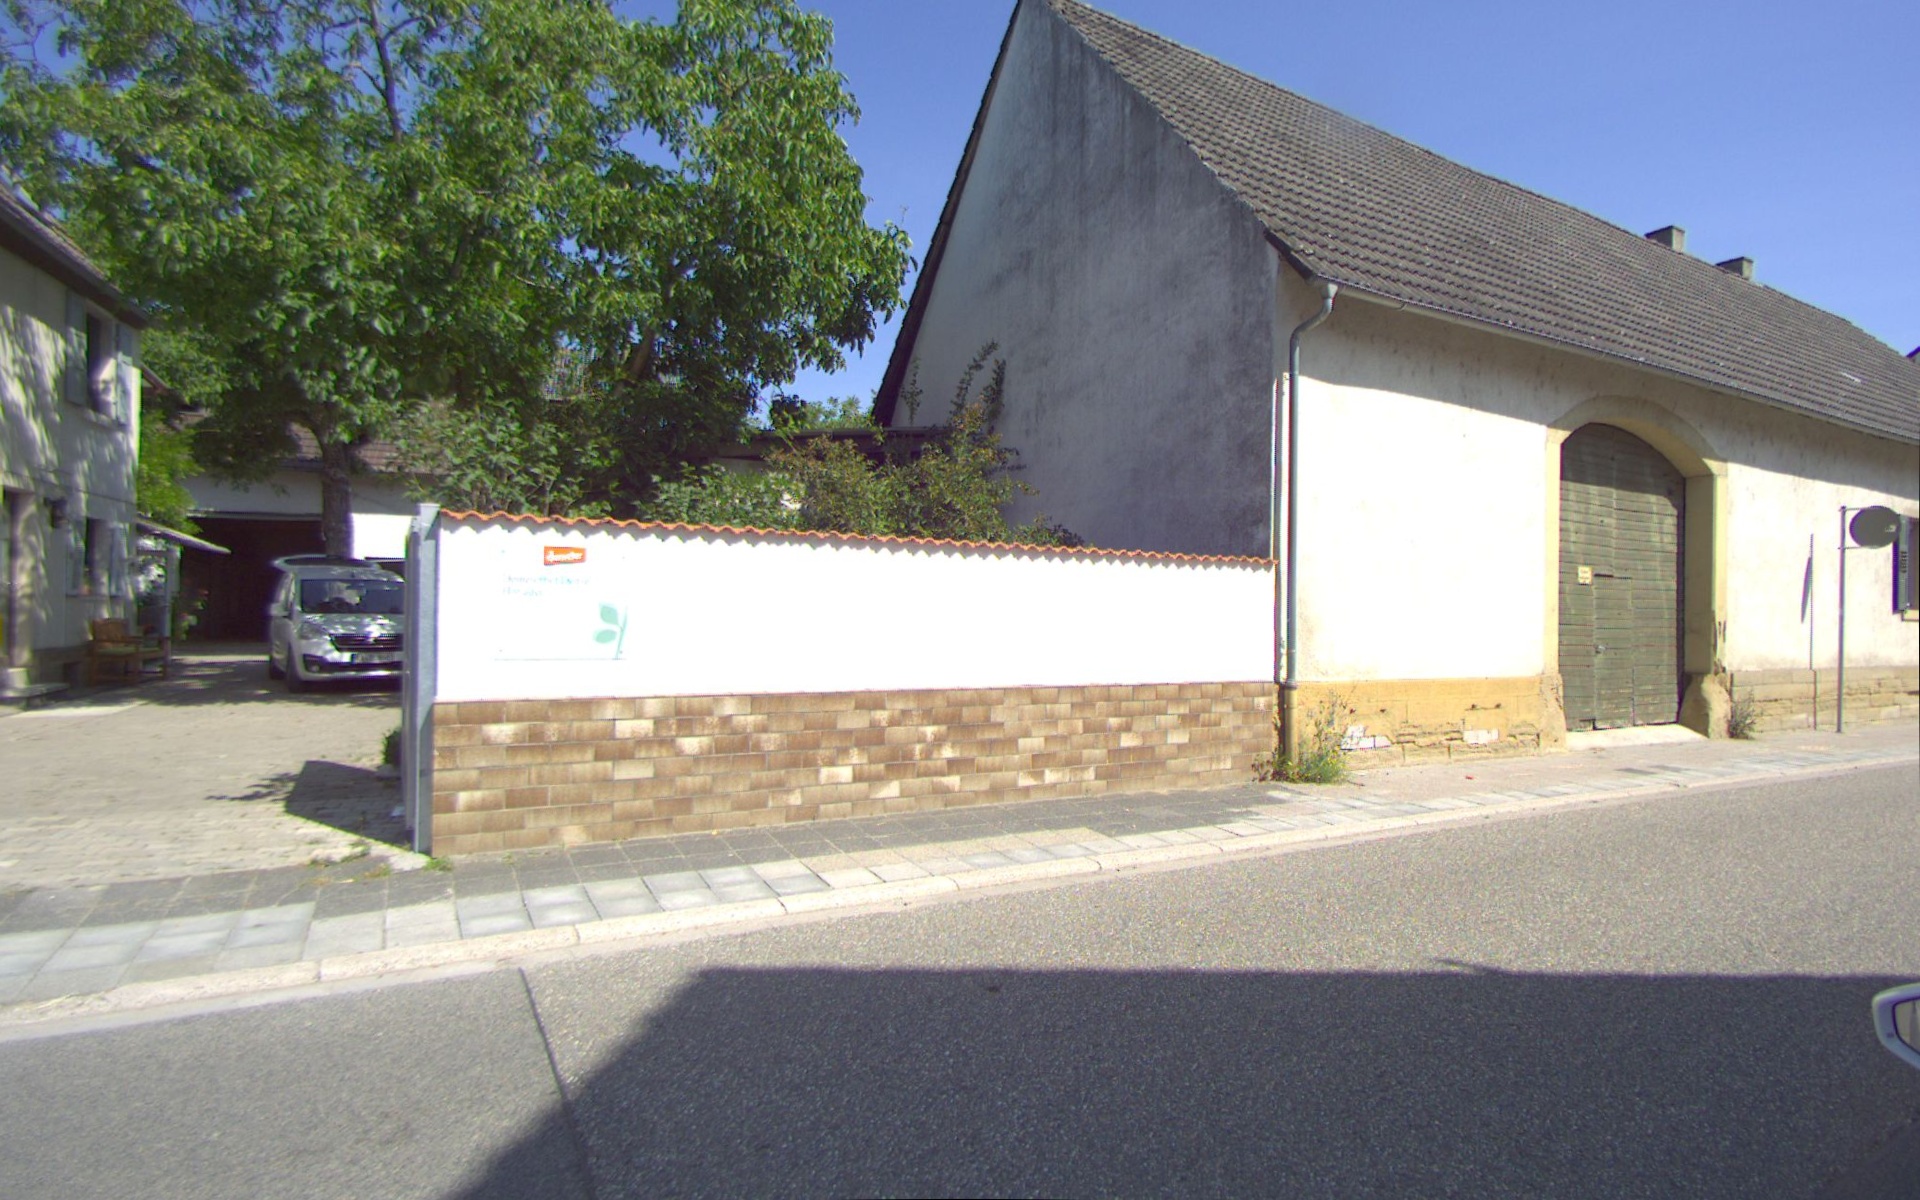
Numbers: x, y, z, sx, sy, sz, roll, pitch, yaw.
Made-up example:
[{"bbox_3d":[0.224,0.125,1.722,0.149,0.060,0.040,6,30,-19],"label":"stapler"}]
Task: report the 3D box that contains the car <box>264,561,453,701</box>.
[{"bbox_3d":[-9.264,0.379,15.295,1.888,1.822,4.206,1,0,-39],"label":"car"}]
